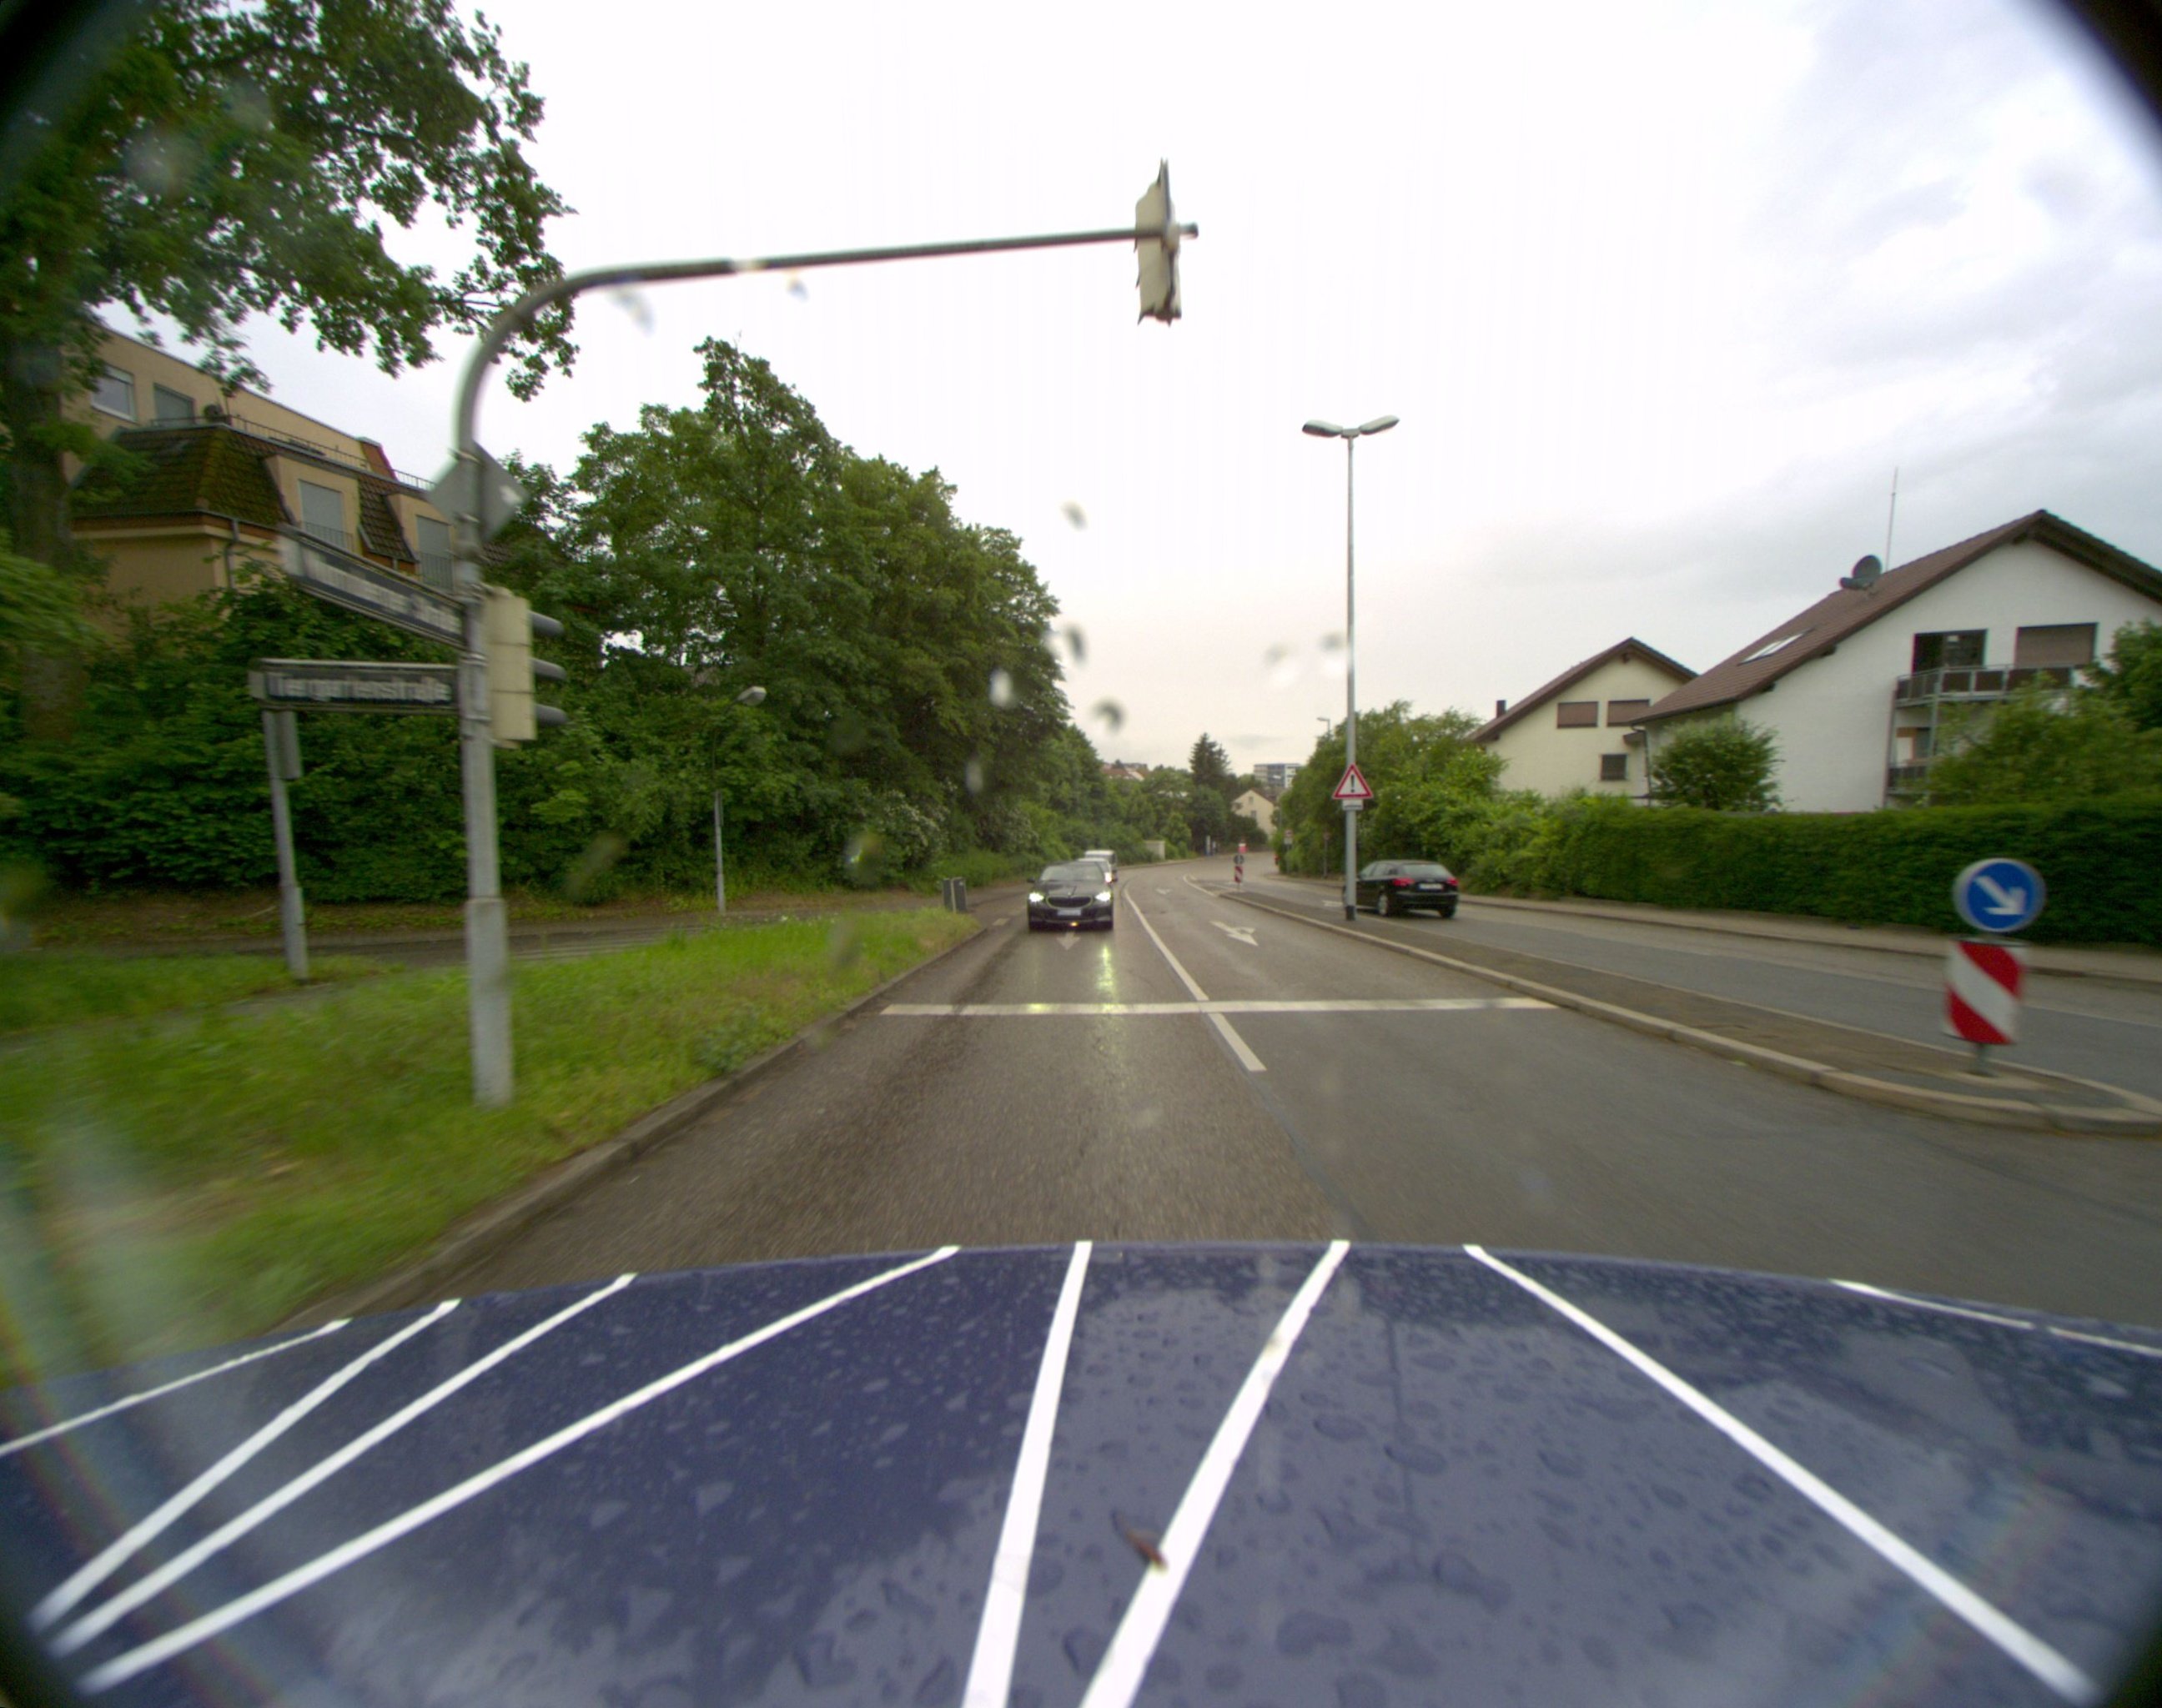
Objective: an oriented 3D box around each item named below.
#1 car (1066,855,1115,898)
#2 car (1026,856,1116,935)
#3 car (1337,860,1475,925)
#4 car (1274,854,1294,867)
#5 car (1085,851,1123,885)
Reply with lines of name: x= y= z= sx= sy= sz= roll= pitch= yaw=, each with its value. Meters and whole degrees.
car: x=0.437 y=0.837 z=30.556 sx=1.814 sy=1.547 sz=4.119 roll=0 pitch=1 yaw=2
car: x=-0.132 y=0.868 z=17.893 sx=1.867 sy=1.547 sz=4.119 roll=0 pitch=1 yaw=2
car: x=8.244 y=0.922 z=19.686 sx=1.867 sy=1.484 sz=3.833 roll=0 pitch=0 yaw=-1
car: x=30.792 y=0.929 z=115.061 sx=1.956 sy=1.835 sz=4.008 roll=2 pitch=1 yaw=27
car: x=1.350 y=0.725 z=42.970 sx=1.813 sy=1.797 sz=4.121 roll=0 pitch=1 yaw=6
